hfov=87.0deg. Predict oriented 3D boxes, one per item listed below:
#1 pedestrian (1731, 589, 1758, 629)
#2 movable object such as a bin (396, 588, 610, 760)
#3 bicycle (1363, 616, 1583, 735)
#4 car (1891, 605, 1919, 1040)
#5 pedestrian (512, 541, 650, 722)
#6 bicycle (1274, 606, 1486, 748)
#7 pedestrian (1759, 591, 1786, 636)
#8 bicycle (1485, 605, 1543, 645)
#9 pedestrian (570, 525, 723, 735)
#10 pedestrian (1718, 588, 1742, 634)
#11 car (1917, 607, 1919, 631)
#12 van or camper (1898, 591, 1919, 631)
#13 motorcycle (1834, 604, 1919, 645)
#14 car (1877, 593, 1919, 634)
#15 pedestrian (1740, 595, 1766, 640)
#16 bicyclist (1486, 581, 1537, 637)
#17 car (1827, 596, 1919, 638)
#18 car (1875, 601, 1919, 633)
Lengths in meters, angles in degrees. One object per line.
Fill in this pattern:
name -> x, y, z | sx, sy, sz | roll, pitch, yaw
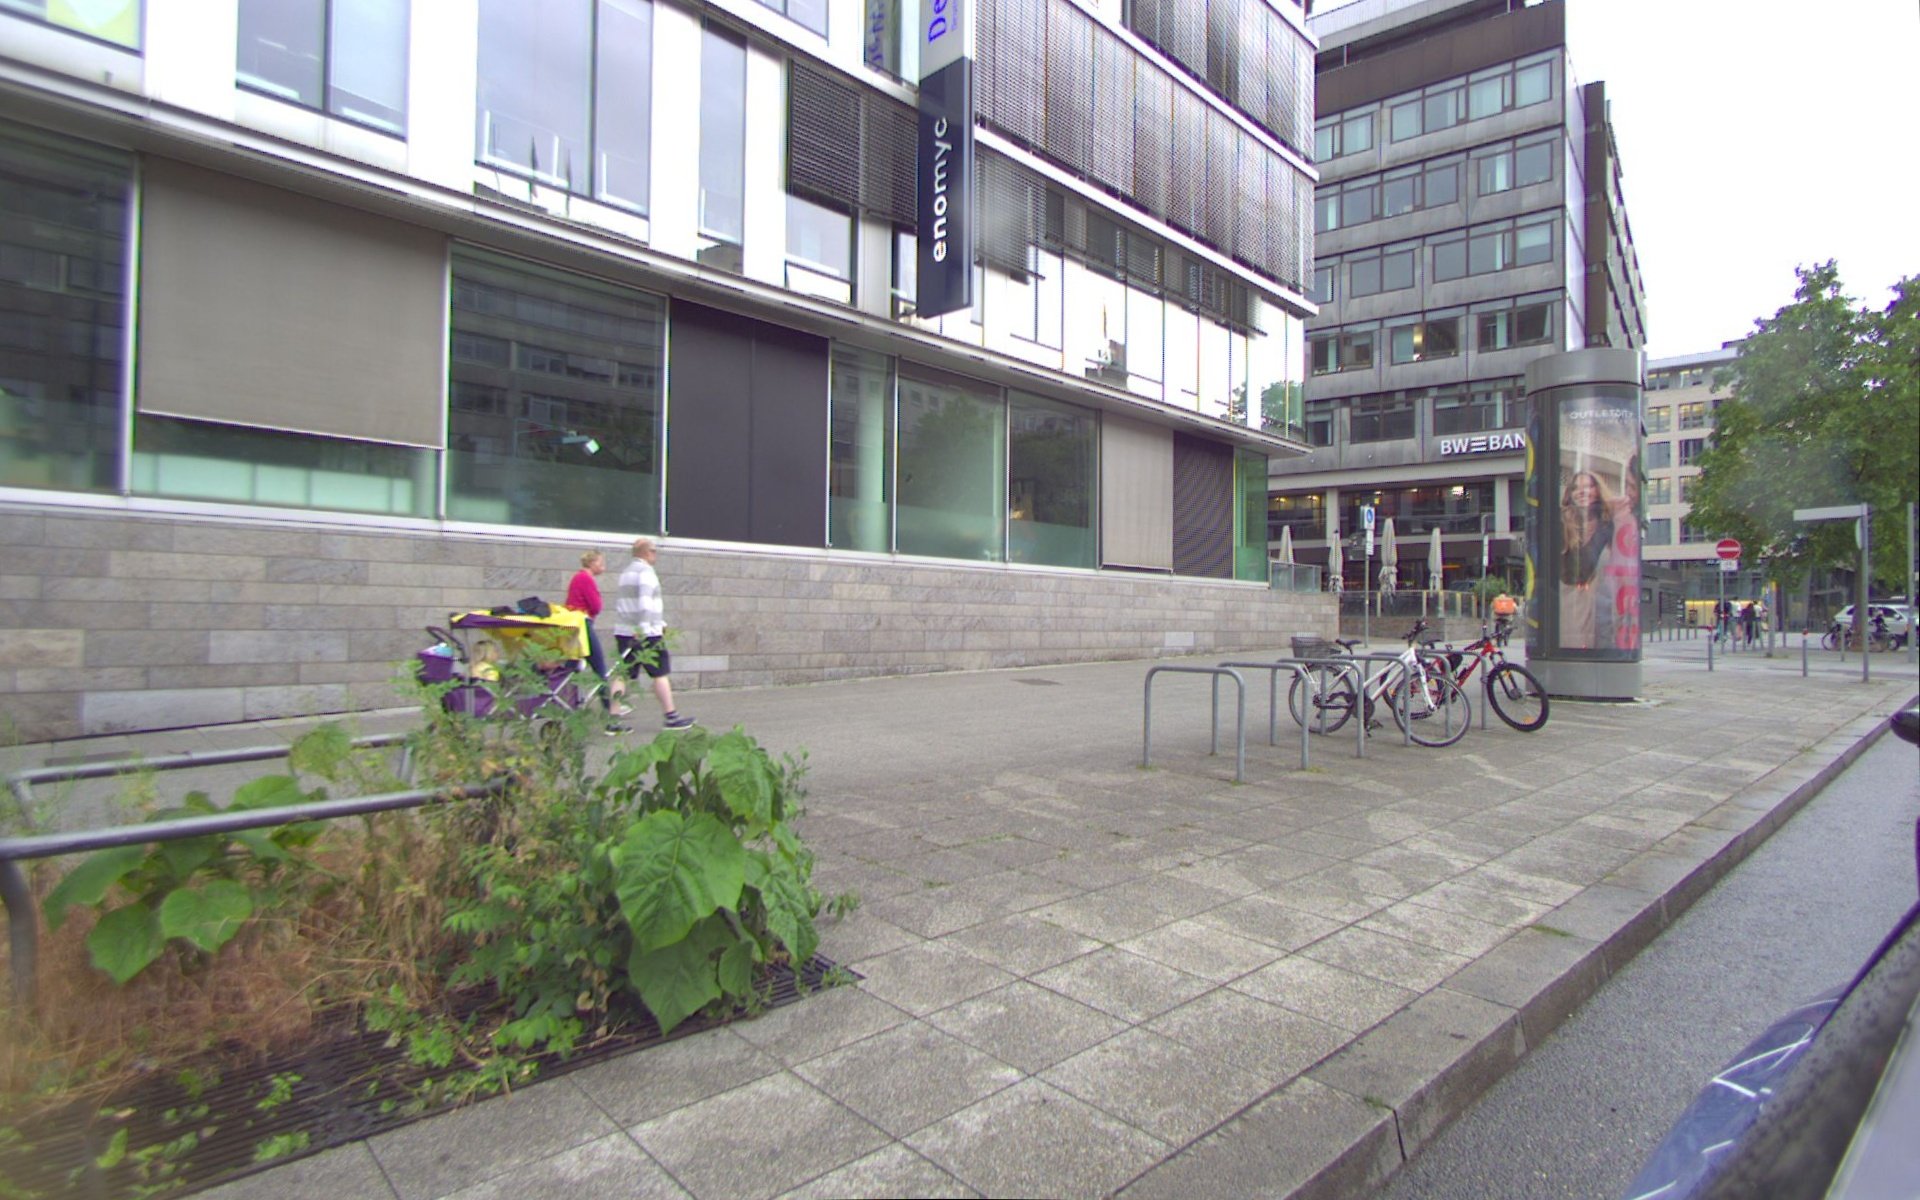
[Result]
pedestrian -> 37.017, 0.438, 47.752 | 0.883, 1.893, 0.802 | 1, -2, -42
movable object such as a bin -> -3.728, 0.567, 8.311 | 1.420, 1.280, 0.732 | 2, -2, -44
bicycle -> 5.506, 0.755, 10.981 | 0.793, 1.118, 1.989 | 1, 0, -37
car -> 5.053, 0.733, 4.067 | 3.769, 1.435, 1.631 | 0, -1, -43
pedestrian -> -3.825, 0.286, 10.237 | 0.718, 1.711, 1.082 | 2, 1, 44
bicycle -> 4.047, 0.690, 9.890 | 0.648, 1.212, 1.841 | 1, 0, -37
pedestrian -> 37.767, 0.626, 47.048 | 0.740, 2.065, 0.850 | 1, -2, -44
bicycle -> 16.633, 0.731, 30.365 | 1.009, 1.128, 2.034 | 1, 1, 44
pedestrian -> -2.915, 0.243, 9.426 | 0.900, 1.814, 1.030 | 2, 1, 44
pedestrian -> 32.148, 0.467, 42.243 | 0.719, 1.908, 0.646 | -2, -2, 43
car -> 58.723, 1.081, 58.929 | 1.673, 1.442, 4.068 | 0, -1, -12
van or camper -> 61.335, 0.640, 61.429 | 2.267, 2.479, 6.275 | 0, -1, -11
motorcycle -> 31.756, 0.853, 35.078 | 0.664, 1.375, 2.090 | 1, -2, -34
car -> 48.789, 0.666, 50.229 | 1.882, 2.018, 4.525 | 0, -1, -12
pedestrian -> 30.284, 0.678, 38.630 | 0.718, 1.707, 0.521 | -2, -2, 41
bicyclist -> 16.450, 0.260, 30.166 | 1.011, 1.603, 1.118 | -4, -3, 43
car -> 38.723, 0.690, 41.368 | 1.876, 1.671, 4.812 | 0, -1, -11
car -> 46.780, 0.812, 48.218 | 1.876, 1.557, 4.399 | 0, -1, -14
